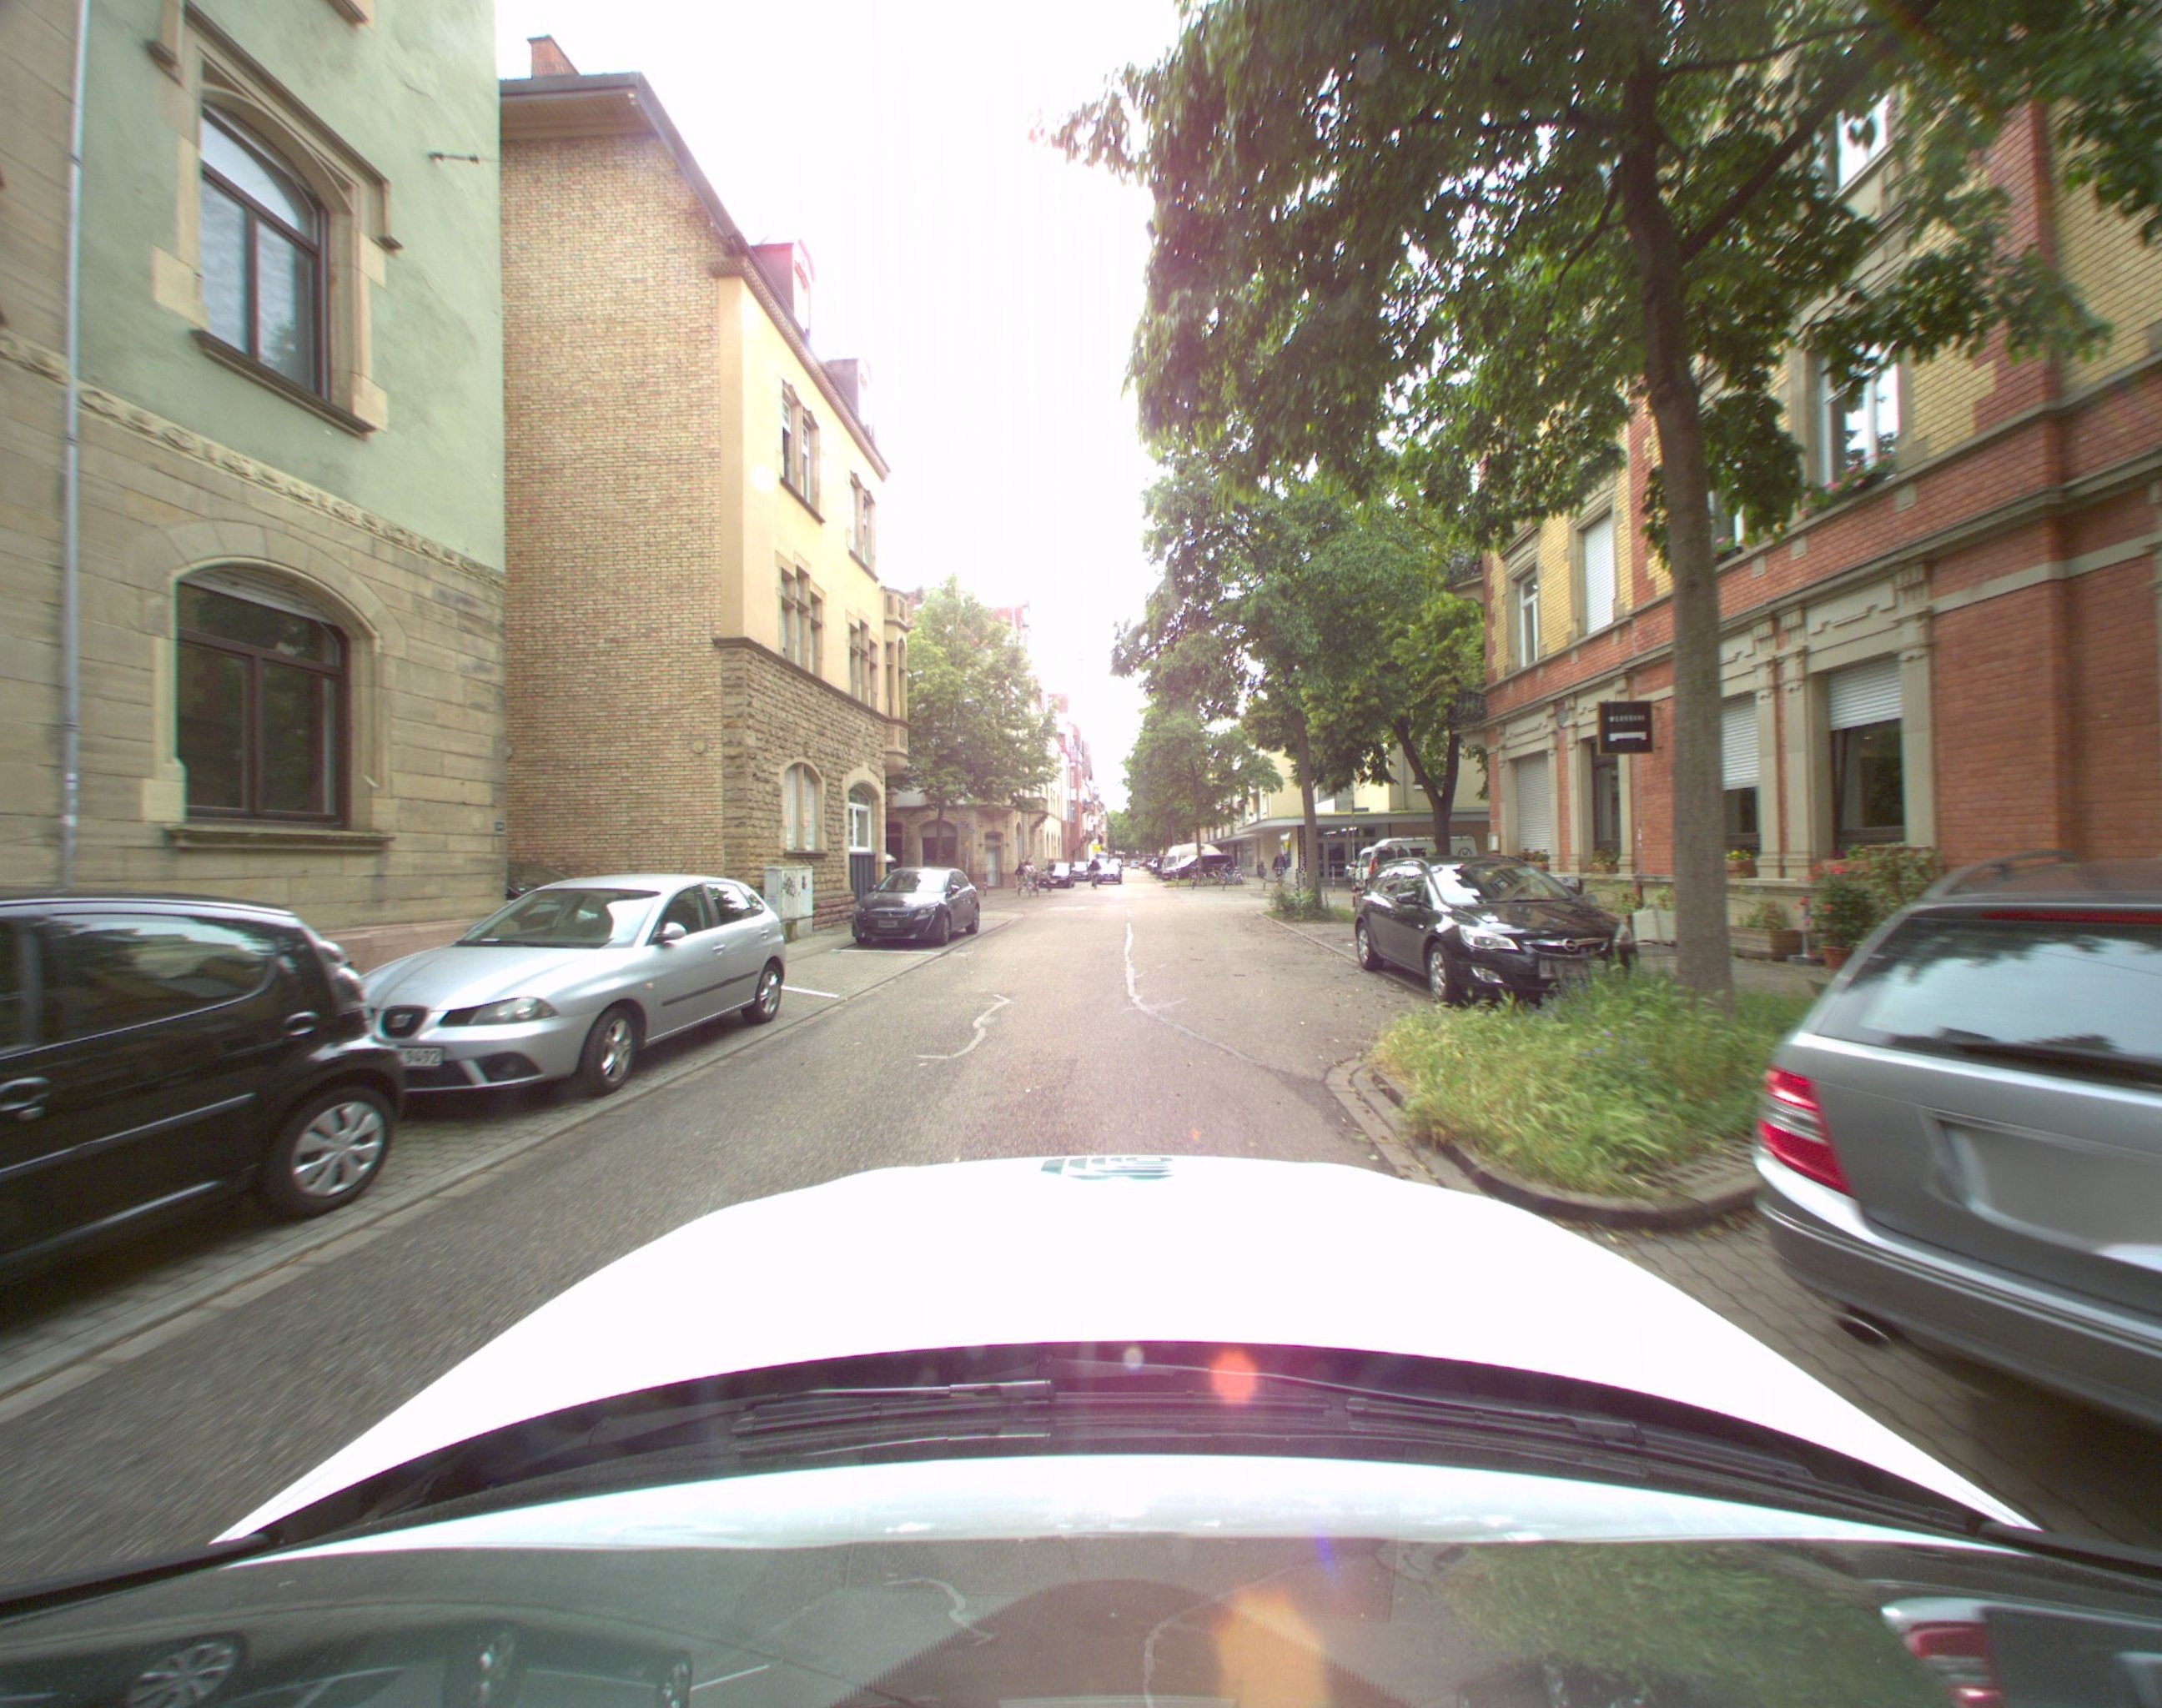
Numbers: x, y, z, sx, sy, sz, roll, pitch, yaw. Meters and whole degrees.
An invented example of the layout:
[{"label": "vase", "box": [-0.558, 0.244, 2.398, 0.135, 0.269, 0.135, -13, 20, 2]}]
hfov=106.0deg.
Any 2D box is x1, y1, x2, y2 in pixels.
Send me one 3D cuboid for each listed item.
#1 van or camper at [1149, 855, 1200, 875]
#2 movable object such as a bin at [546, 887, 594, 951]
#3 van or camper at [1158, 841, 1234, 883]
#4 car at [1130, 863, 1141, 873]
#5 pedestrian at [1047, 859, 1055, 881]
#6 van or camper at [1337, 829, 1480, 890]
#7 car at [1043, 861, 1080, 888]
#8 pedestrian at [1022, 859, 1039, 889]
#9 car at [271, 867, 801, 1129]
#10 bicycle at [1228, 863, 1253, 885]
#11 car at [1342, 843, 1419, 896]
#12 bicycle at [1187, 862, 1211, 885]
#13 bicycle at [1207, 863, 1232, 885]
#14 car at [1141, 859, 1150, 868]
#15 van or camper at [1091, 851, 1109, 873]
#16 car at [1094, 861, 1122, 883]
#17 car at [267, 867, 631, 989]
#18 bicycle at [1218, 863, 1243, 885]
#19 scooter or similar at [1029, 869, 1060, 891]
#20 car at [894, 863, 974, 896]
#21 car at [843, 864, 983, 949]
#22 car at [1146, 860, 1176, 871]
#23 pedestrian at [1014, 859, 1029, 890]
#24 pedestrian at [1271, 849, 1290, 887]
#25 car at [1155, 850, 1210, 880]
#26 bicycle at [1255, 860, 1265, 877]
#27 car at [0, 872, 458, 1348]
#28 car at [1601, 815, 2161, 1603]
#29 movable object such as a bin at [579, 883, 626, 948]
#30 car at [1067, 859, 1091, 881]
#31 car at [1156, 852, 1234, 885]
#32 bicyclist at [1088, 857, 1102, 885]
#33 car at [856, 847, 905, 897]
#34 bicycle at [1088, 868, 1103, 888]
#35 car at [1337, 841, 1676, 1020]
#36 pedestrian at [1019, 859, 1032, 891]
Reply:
[{"label": "van or camper", "box": [10.001, 1.159, 87.005, 5.029, 1.869, 2.110, -3, -1, -24]}, {"label": "movable object such as a bin", "box": [-8.753, 1.105, 13.965, 0.437, 1.062, 0.552, -1, -1, 4]}, {"label": "van or camper", "box": [7.464, 0.488, 52.662, 4.609, 2.596, 1.893, -1, -1, -29]}, {"label": "car", "box": [10.182, 2.572, 151.227, 1.984, 1.794, 4.005, 0, -2, 5]}, {"label": "pedestrian", "box": [-2.139, 1.126, 57.998, 0.513, 1.518, 0.547, -1, -1, 4]}, {"label": "van or camper", "box": [14.741, 0.241, 37.019, 5.733, 2.494, 2.143, -1, 2, 11]}, {"label": "car", "box": [-1.081, 1.193, 47.377, 1.701, 1.495, 4.005, 0, -2, 5]}, {"label": "pedestrian", "box": [-2.728, 1.056, 43.815, 0.624, 1.593, 0.674, -1, -1, 45]}, {"label": "car", "box": [-3.817, 0.860, 6.615, 1.583, 1.434, 3.812, 0, 0, 3]}, {"label": "bicycle", "box": [8.623, 1.084, 44.092, 0.550, 1.174, 1.687, -1, 0, -18]}, {"label": "car", "box": [11.212, 0.571, 30.755, 1.761, 1.819, 4.007, -2, -1, 6]}, {"label": "bicycle", "box": [6.229, 1.040, 43.032, 0.550, 1.174, 1.718, -1, 0, -18]}, {"label": "bicycle", "box": [7.391, 1.063, 43.551, 0.550, 1.174, 1.718, -1, 0, -18]}, {"label": "car", "box": [15.020, 2.188, 191.043, 1.985, 2.014, 4.003, 2, 0, 3]}, {"label": "van or camper", "box": [2.577, 1.020, 108.084, 1.999, 2.651, 5.323, -1, 2, 4]}, {"label": "car", "box": [1.883, 1.266, 56.305, 1.700, 1.413, 3.856, -2, -2, 4]}, {"label": "car", "box": [-9.026, 1.022, 11.848, 3.969, 1.564, 1.769, -1, -1, 4]}, {"label": "bicycle", "box": [8.041, 1.072, 43.743, 0.550, 1.174, 1.718, -1, 0, -18]}, {"label": "scooter or similar", "box": [-1.880, 1.338, 42.441, 1.458, 1.104, 0.678, 1, 0, 15]}, {"label": "car", "box": [-7.479, 1.280, 41.538, 3.544, 1.460, 1.655, -2, 1, 13]}, {"label": "car", "box": [-3.195, 0.953, 16.302, 1.719, 1.434, 3.886, 0, 0, 4]}, {"label": "car", "box": [11.809, 1.710, 120.586, 4.032, 1.559, 1.868, -1, -1, -27]}, {"label": "pedestrian", "box": [-3.140, 1.090, 43.037, 0.611, 1.643, 0.606, -1, -1, 16]}, {"label": "pedestrian", "box": [9.408, 0.658, 38.446, 0.775, 1.797, 0.510, -1, -1, 5]}, {"label": "car", "box": [7.641, 0.800, 61.239, 2.040, 2.196, 4.427, -2, -1, 39]}, {"label": "bicycle", "box": [12.319, 0.983, 56.055, 0.482, 1.090, 1.703, -1, -1, 6]}, {"label": "car", "box": [-4.111, 0.814, 2.527, 1.510, 1.434, 3.459, 0, 0, 4]}, {"label": "car", "box": [3.945, 0.595, 2.629, 4.455, 1.427, 1.743, -3, -1, -27]}, {"label": "movable object such as a bin", "box": [-8.189, 1.047, 13.955, 0.437, 1.062, 0.552, -1, -1, 4]}, {"label": "car", "box": [-0.145, 1.197, 62.217, 1.639, 1.570, 2.959, 0, 0, 3]}, {"label": "car", "box": [6.934, 0.869, 49.614, 4.348, 1.854, 1.897, -1, -1, -22]}, {"label": "bicyclist", "box": [0.799, 0.943, 45.984, 0.644, 1.538, 0.678, -2, -1, 6]}, {"label": "car", "box": [-8.454, 0.753, 34.593, 1.829, 1.968, 3.945, -1, -1, -12]}, {"label": "bicycle", "box": [0.819, 1.318, 45.965, 0.630, 1.094, 1.802, -1, -1, 6]}, {"label": "car", "box": [4.433, 0.693, 9.401, 1.756, 1.486, 4.484, -3, -1, 4]}, {"label": "pedestrian", "box": [-2.887, 1.087, 42.389, 0.524, 1.643, 0.530, 0, -1, 16]}]
